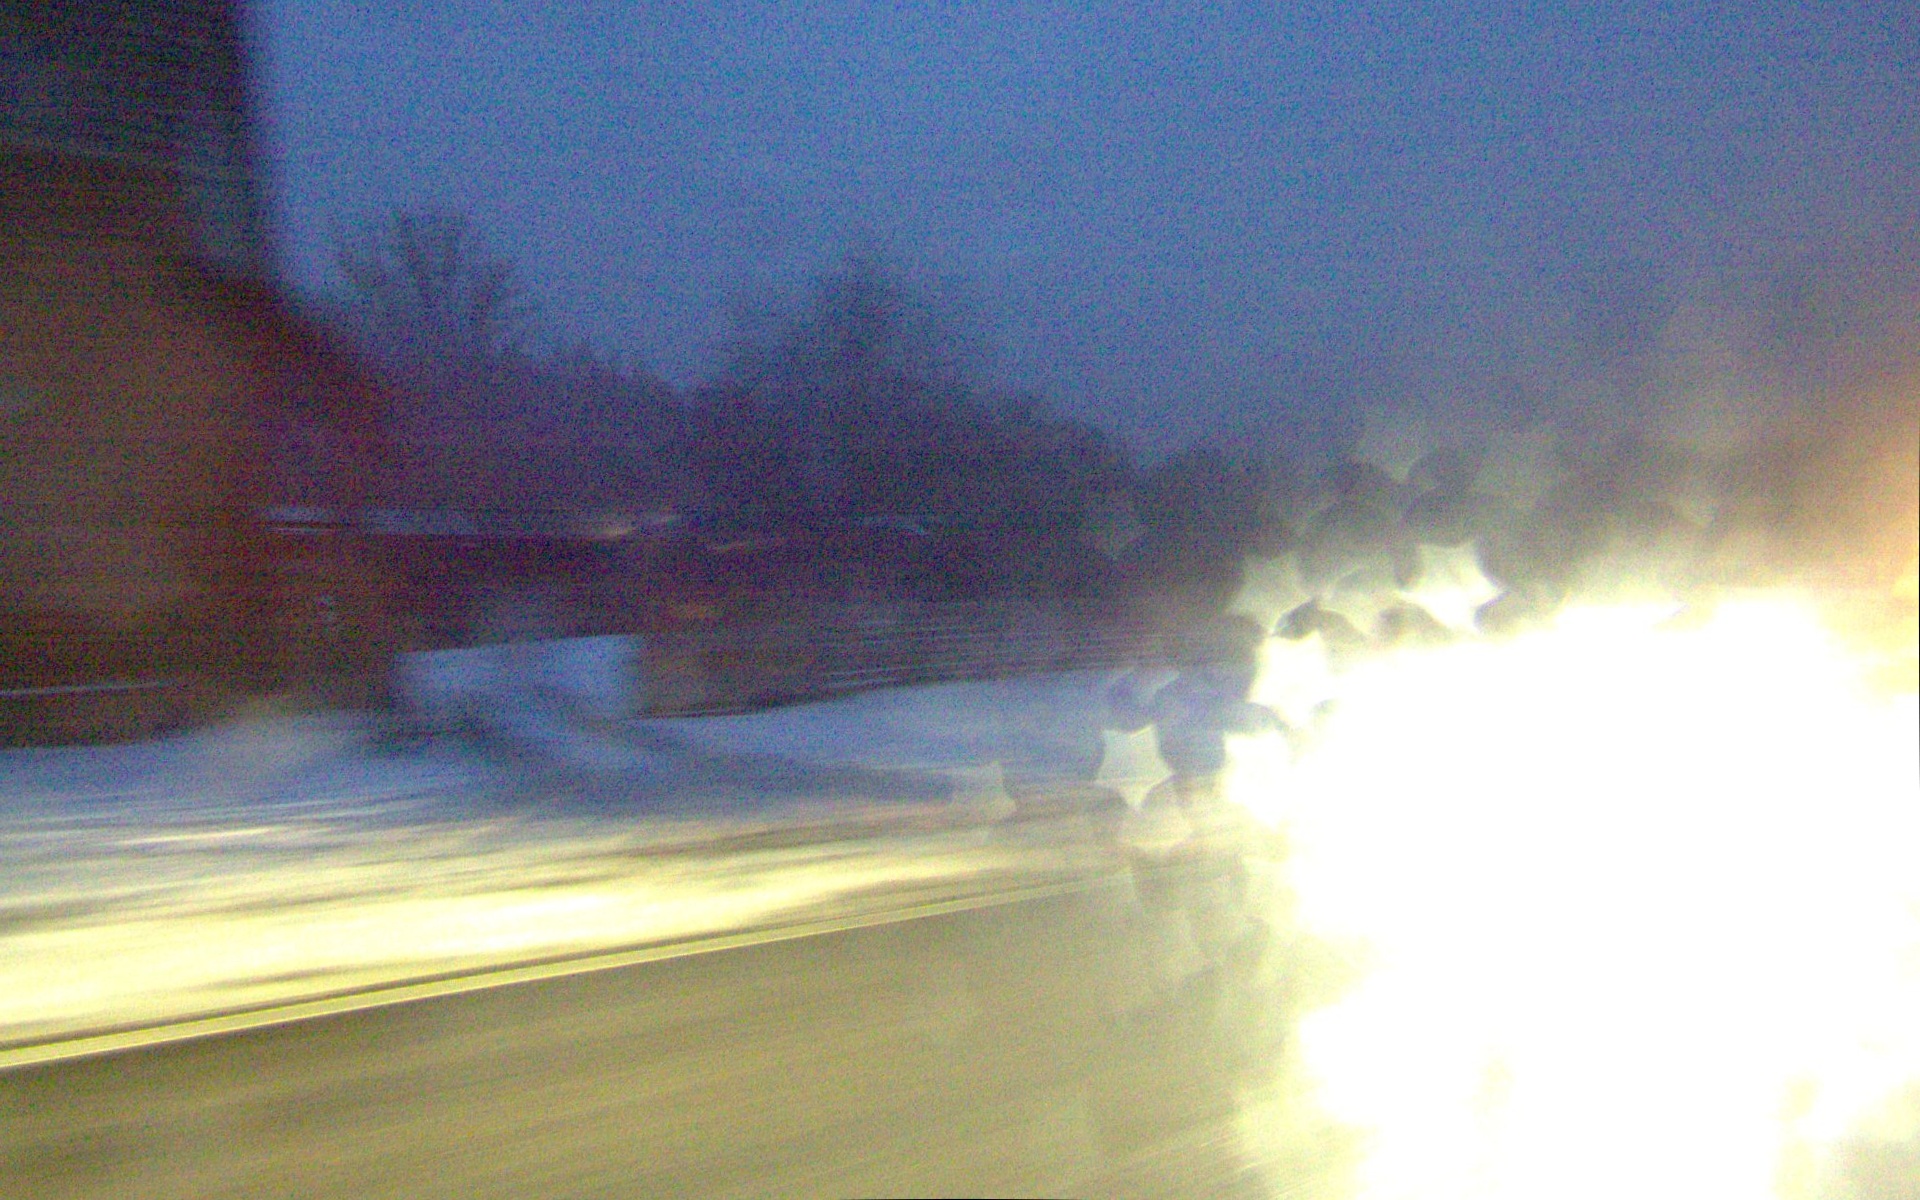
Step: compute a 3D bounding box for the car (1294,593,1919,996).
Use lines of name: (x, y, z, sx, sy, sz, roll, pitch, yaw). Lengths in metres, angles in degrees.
car: (4.460, 0.799, 5.887, 4.839, 1.479, 1.984, 2, 1, -29)
